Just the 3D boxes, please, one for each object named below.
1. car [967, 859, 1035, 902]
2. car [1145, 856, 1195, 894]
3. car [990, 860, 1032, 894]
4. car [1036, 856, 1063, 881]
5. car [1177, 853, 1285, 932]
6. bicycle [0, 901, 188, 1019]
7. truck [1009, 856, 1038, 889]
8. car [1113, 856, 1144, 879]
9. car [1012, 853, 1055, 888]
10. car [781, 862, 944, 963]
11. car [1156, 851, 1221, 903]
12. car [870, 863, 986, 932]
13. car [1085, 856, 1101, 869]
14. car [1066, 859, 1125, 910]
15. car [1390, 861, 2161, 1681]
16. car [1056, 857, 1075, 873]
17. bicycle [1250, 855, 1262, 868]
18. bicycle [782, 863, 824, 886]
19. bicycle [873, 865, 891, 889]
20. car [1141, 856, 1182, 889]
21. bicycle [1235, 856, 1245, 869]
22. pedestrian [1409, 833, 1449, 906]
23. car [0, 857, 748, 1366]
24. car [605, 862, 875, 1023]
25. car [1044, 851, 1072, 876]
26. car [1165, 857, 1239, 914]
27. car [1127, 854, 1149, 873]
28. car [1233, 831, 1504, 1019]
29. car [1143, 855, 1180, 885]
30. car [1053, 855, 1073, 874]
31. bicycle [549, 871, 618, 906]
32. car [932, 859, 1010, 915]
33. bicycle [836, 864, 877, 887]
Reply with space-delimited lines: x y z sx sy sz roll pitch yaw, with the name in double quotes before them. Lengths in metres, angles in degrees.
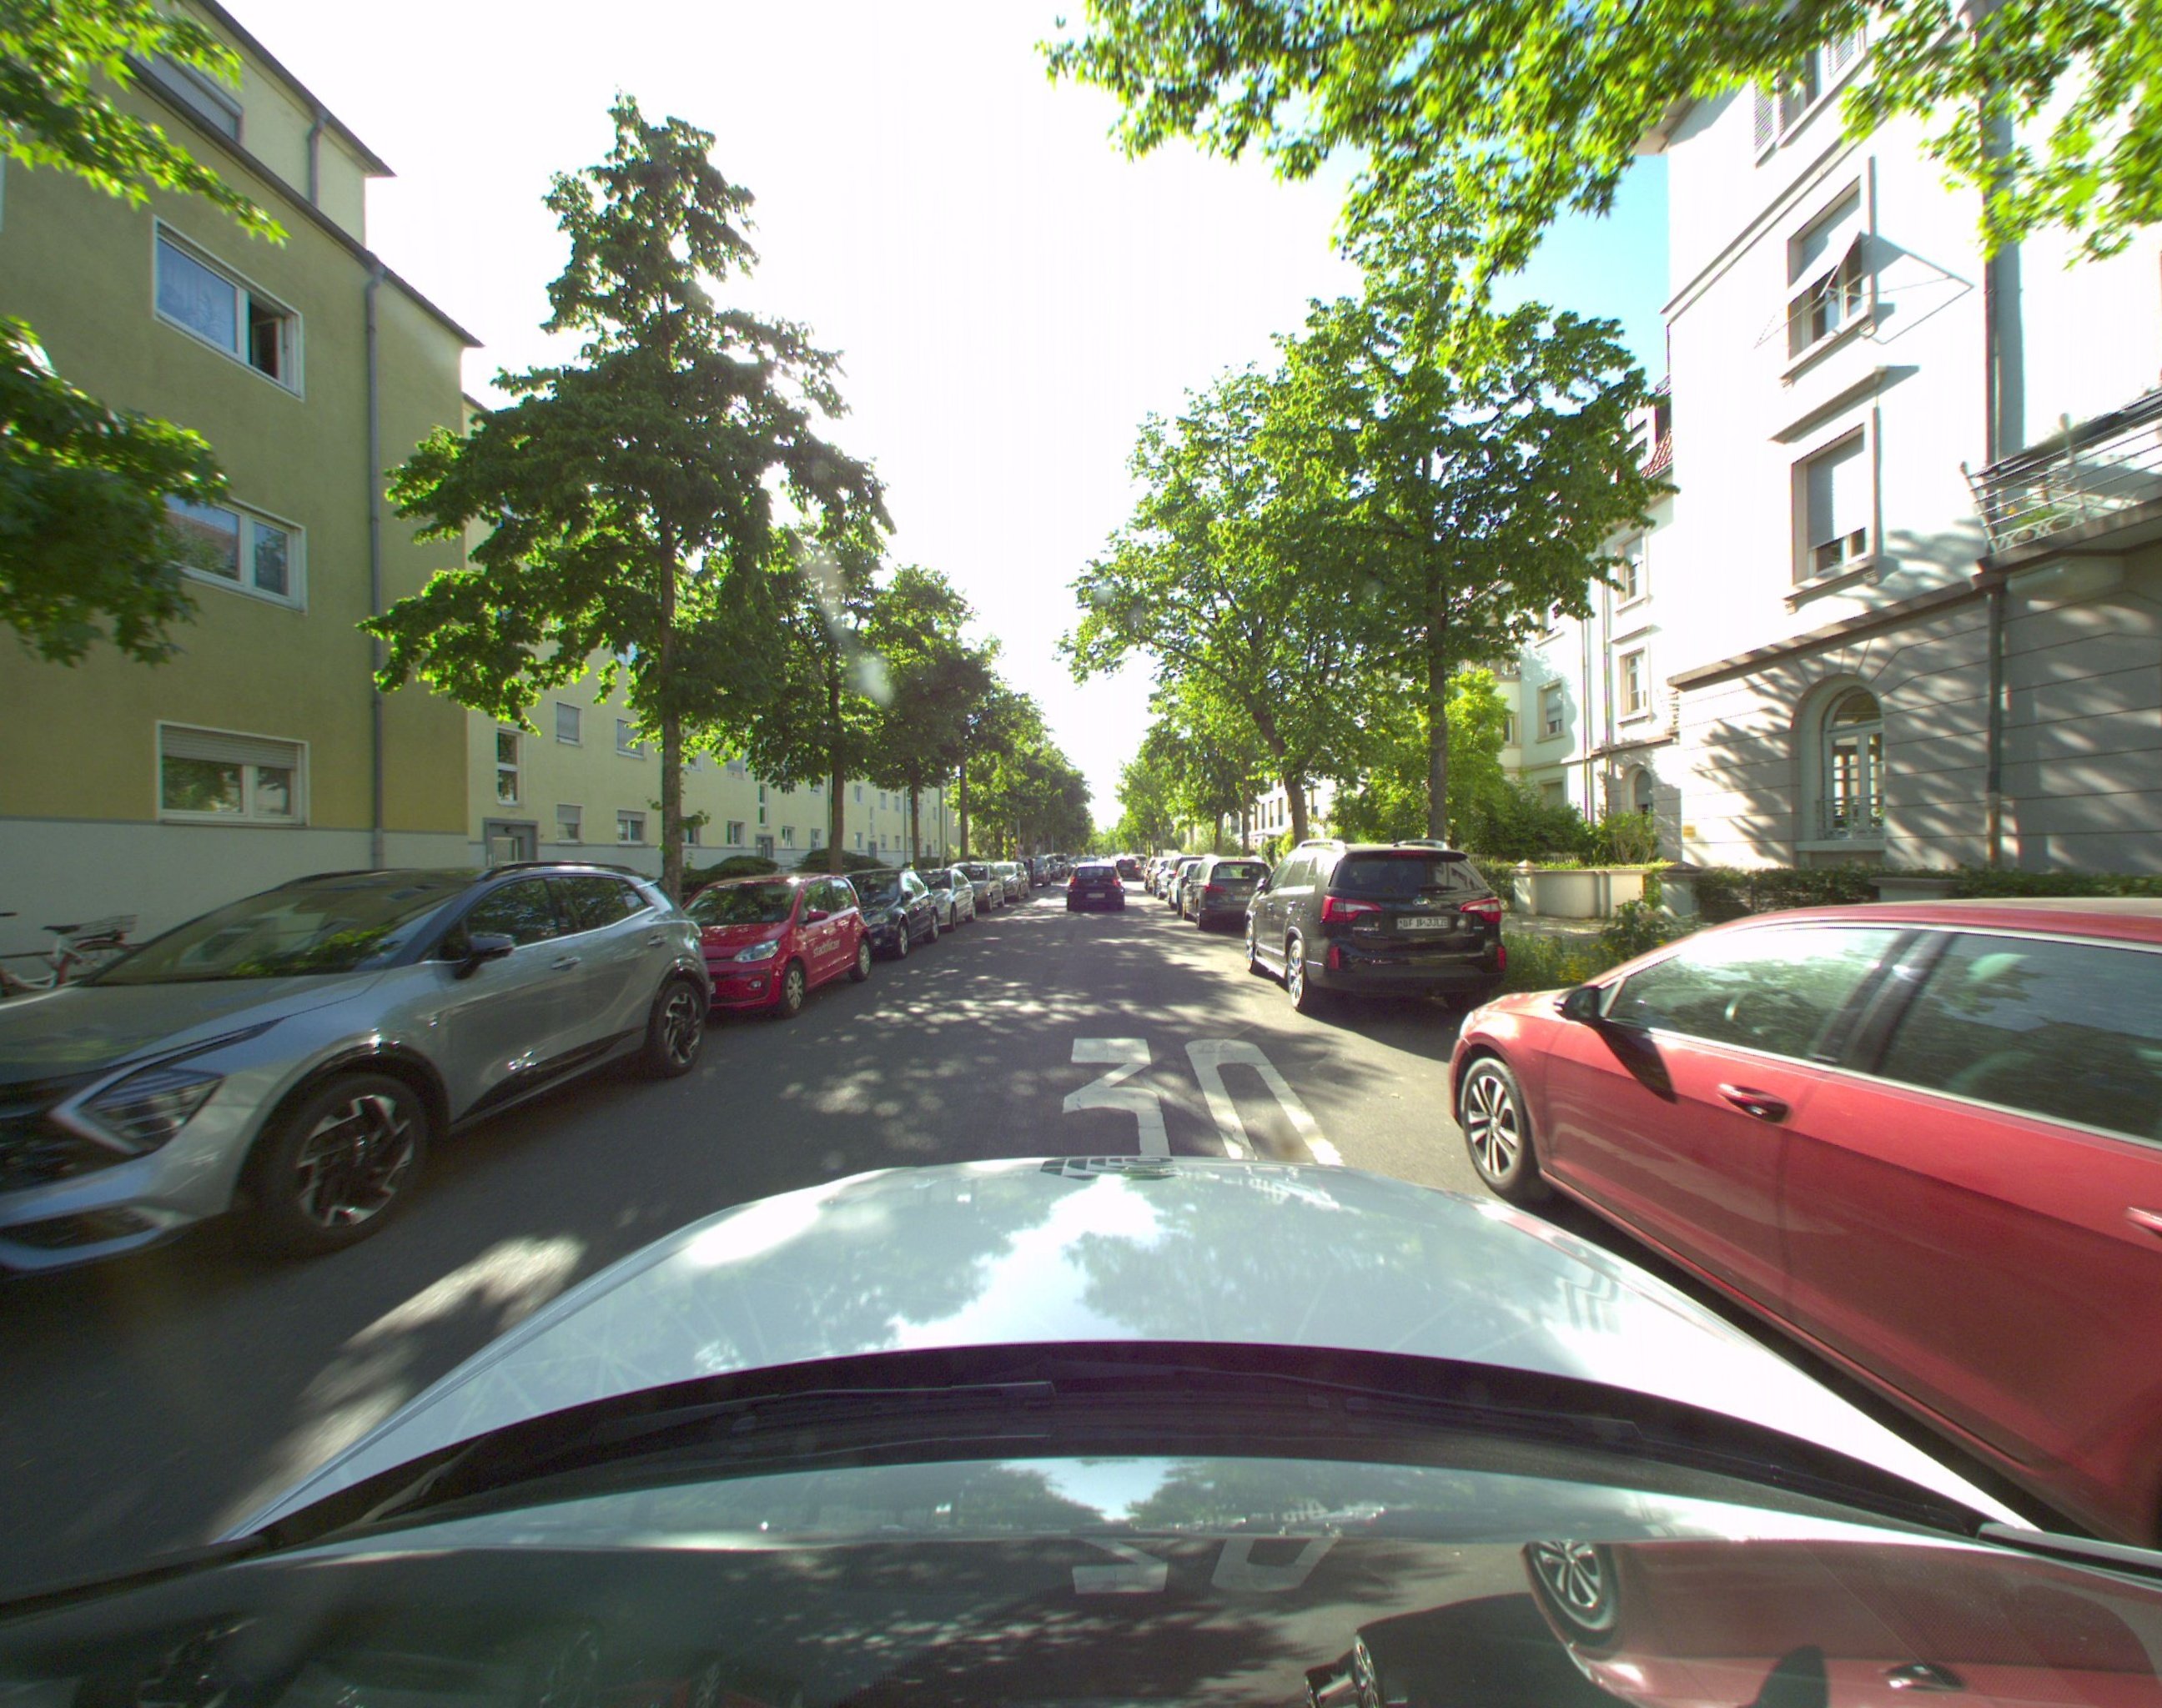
"car" -2.991 0.966 31.426 1.784 1.444 4.692 -3 0 4
"car" 3.590 0.825 33.328 1.644 1.428 3.612 -2 0 0
"car" -3.065 0.971 36.275 1.515 1.395 3.727 -1 0 0
"car" -2.144 0.990 56.881 1.502 1.548 4.780 -3 0 1
"car" 3.349 0.789 18.965 1.678 1.588 4.535 1 0 0
"bicycle" -10.357 1.041 8.287 0.533 1.027 1.750 -1 0 3
"truck" -2.819 0.890 40.298 1.079 1.577 2.434 -1 0 4
"car" 3.029 0.837 52.439 1.644 1.425 3.999 -1 0 -1
"car" -2.546 0.849 44.926 1.842 1.680 4.978 -4 0 2
"car" -3.671 0.915 14.400 1.658 1.459 3.934 -1 0 2
"car" 3.647 0.737 28.204 1.644 1.655 3.845 -1 0 -1
"car" -3.579 0.963 19.878 1.739 1.368 4.676 -2 0 2
"car" 1.399 0.910 91.486 1.498 1.426 3.183 -1 0 6
"car" 0.456 0.874 24.741 1.643 1.397 3.412 -2 0 1
"car" 2.684 0.757 2.608 1.607 1.410 4.348 -1 0 -2
"car" -1.430 1.058 78.325 1.606 1.427 4.059 -2 0 1
"bicycle" 14.773 0.650 68.750 0.544 1.055 1.779 -2 0 -1
"bicycle" -13.667 1.013 40.075 1.834 1.081 0.486 1 -4 -2
"bicycle" -9.136 1.045 37.341 0.487 1.081 1.831 2 -1 -22
"car" 3.745 0.822 38.390 1.630 1.455 4.101 -1 0 2
"bicycle" 13.414 0.681 68.738 0.544 1.055 1.691 -2 0 -1
"pedestrian" 8.745 0.377 20.497 0.620 1.775 0.800 -2 0 2
"car" -3.849 0.830 4.916 1.686 1.565 4.735 -1 0 0
"car" -3.710 0.877 9.499 1.658 1.486 3.258 -1 0 2
"car" -1.859 0.782 67.344 1.819 1.904 5.145 -2 0 2
"car" 3.395 0.831 23.562 1.623 1.425 4.370 -2 0 2
"car" 4.899 0.809 70.251 1.840 1.631 4.414 0 -1 3
"car" 3.064 0.654 9.705 1.774 1.698 4.299 -1 0 1
"car" 4.198 0.820 42.948 1.694 1.449 4.084 -2 0 2
"car" -1.583 0.946 73.017 1.607 1.611 4.228 -2 0 0
"bicycle" -14.427 0.994 23.619 1.630 0.930 0.480 -1 0 -7
"car" -3.374 0.972 25.815 1.614 1.515 4.272 -3 0 3
"bicycle" -11.027 1.059 40.060 1.834 1.081 0.486 -1 0 -2
